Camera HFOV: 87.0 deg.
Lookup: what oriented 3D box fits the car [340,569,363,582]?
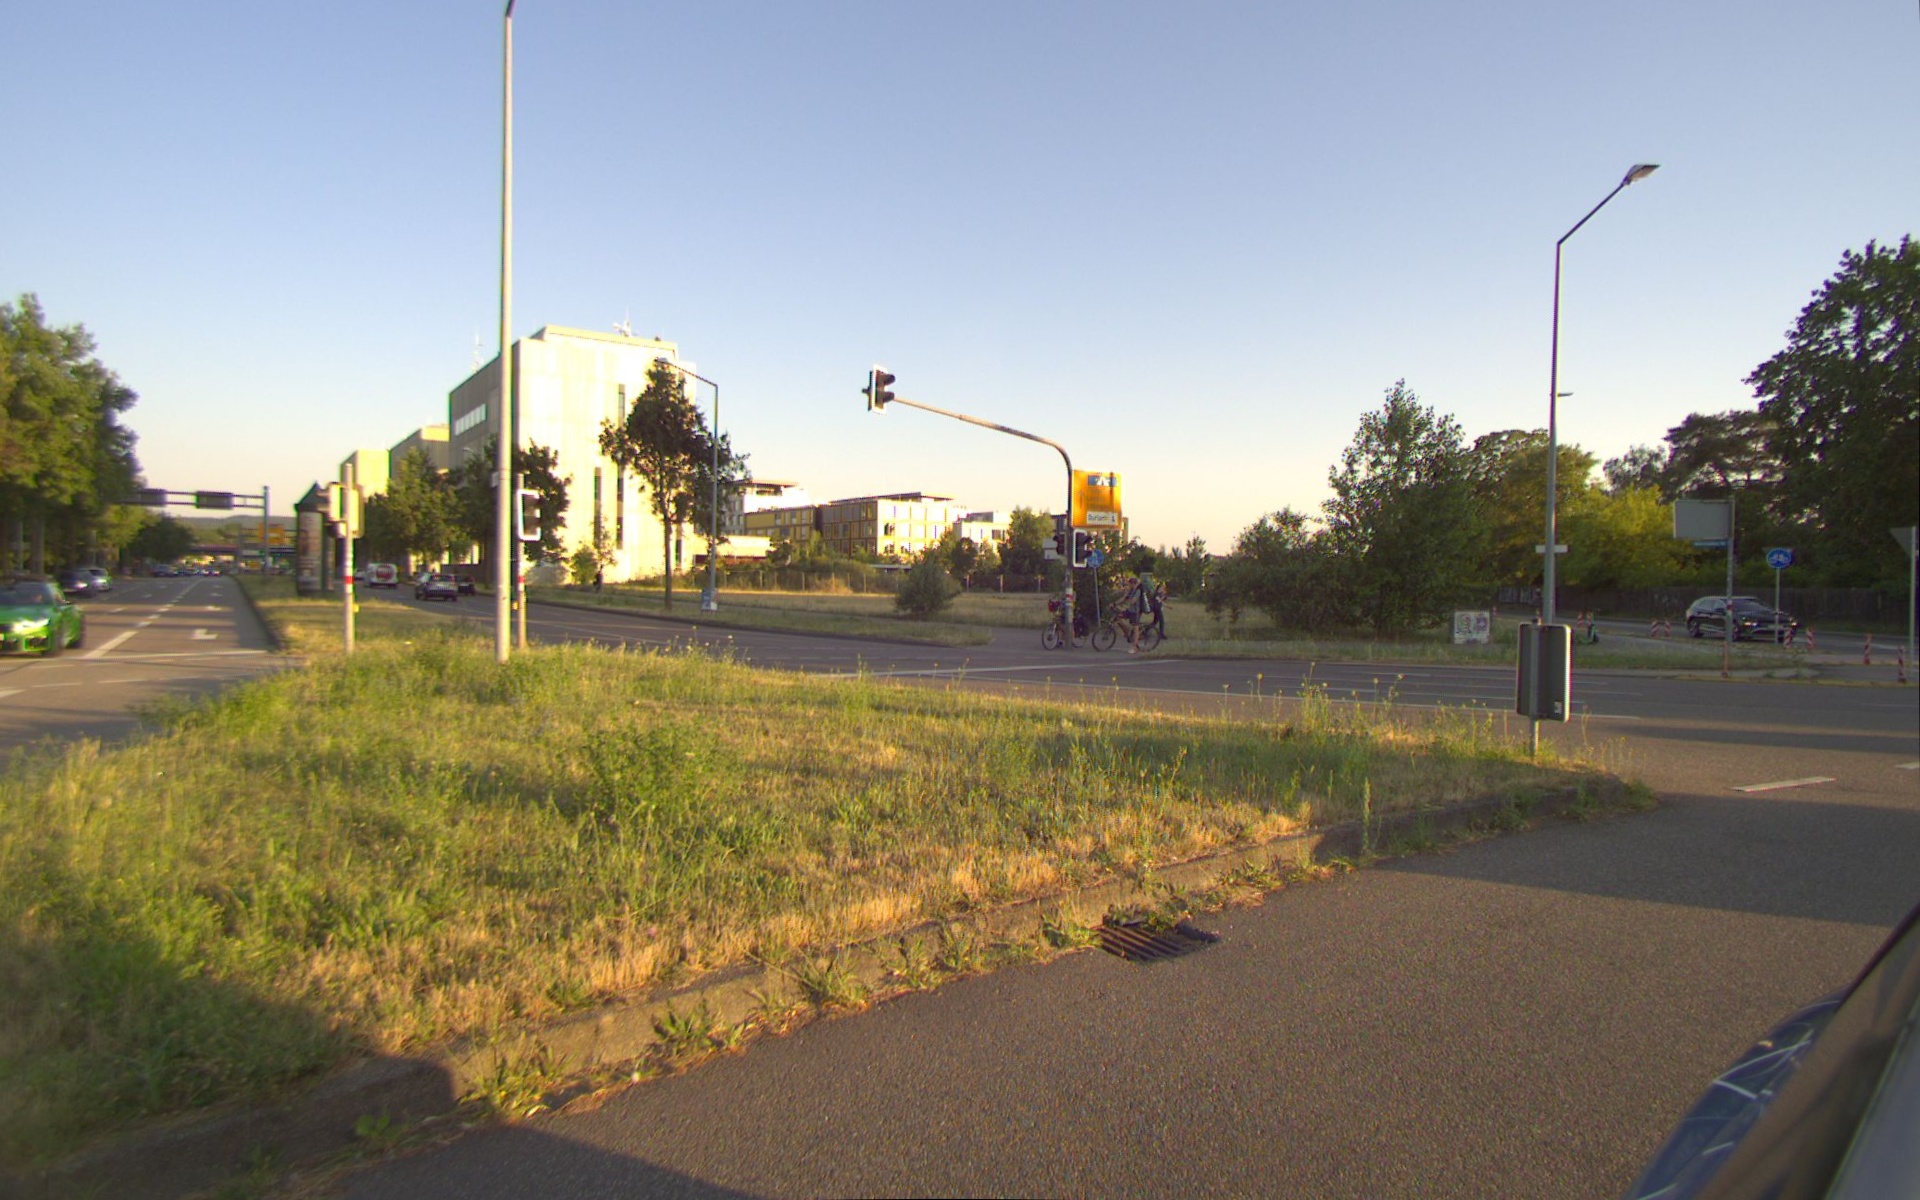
[{"bbox_3d":[-72.247,-2.883,120.162,1.962,1.528,5.186,0,1,-35],"label":"car"}]

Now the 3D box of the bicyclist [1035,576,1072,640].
[{"bbox_3d":[2.526,0.210,27.322,0.675,1.711,0.726,0,1,-29],"label":"bicyclist"}]

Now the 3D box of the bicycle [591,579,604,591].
[{"bbox_3d":[-26.344,-1.086,73.482,0.487,0.837,1.515,0,1,-35],"label":"bicycle"}]

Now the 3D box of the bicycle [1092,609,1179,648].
[{"bbox_3d":[4.539,0.734,26.236,2.100,0.975,0.711,1,1,-15],"label":"bicycle"}]

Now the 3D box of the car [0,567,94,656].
[{"bbox_3d":[-18.523,0.154,19.812,1.962,1.598,4.486,-1,2,-35],"label":"car"}]

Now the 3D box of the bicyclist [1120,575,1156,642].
[{"bbox_3d":[4.612,0.212,26.257,0.674,1.711,0.727,1,1,-13],"label":"bicyclist"}]

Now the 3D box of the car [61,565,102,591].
[{"bbox_3d":[-53.395,-1.348,61.496,1.836,1.472,3.964,0,1,-42],"label":"car"}]

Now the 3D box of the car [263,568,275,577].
[{"bbox_3d":[-139.702,-5.554,204.478,1.962,1.805,4.001,0,1,-35],"label":"car"}]

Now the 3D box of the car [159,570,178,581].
[{"bbox_3d":[-113.971,-3.563,145.678,1.966,1.524,4.613,-1,1,-41],"label":"car"}]

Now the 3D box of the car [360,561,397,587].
[{"bbox_3d":[-46.380,-2.090,80.665,2.029,1.971,4.960,0,1,-36],"label":"car"}]

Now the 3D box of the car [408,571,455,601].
[{"bbox_3d":[-30.252,-0.813,57.883,1.962,1.649,4.001,0,1,-34],"label":"car"}]

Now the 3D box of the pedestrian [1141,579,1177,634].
[{"bbox_3d":[5.955,0.183,30.241,0.977,1.610,0.923,1,1,14],"label":"pedestrian"}]

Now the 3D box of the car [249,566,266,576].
[{"bbox_3d":[-105.564,-4.357,152.104,1.963,1.524,4.111,0,1,-36],"label":"car"}]

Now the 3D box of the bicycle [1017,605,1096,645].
[{"bbox_3d":[2.612,0.662,27.340,2.065,0.975,0.711,-2,2,-27],"label":"bicycle"}]

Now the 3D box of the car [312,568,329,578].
[{"bbox_3d":[-103.840,-4.348,164.329,1.964,1.593,3.996,0,1,-39],"label":"car"}]

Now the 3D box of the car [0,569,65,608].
[{"bbox_3d":[-39.543,-0.517,43.190,1.834,1.407,4.158,4,0,-41],"label":"car"}]

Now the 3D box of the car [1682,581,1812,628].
[{"bbox_3d":[29.266,0.101,37.816,1.967,1.617,4.303,1,1,9],"label":"car"}]

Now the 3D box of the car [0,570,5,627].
[{"bbox_3d":[-26.893,0.008,26.550,1.961,1.593,4.417,0,1,-34],"label":"car"}]

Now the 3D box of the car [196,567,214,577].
[{"bbox_3d":[-110.799,-4.101,148.562,1.963,1.524,4.771,0,1,-36],"label":"car"}]

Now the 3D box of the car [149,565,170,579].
[{"bbox_3d":[-96.582,-3.368,122.138,1.880,1.603,4.179,0,1,-37],"label":"car"}]

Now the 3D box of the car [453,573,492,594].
[{"bbox_3d":[-33.657,-1.148,69.866,1.961,1.445,4.201,0,1,-32],"label":"car"}]

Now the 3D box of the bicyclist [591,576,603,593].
[{"bbox_3d":[-26.362,-1.133,73.476,0.606,1.272,0.735,0,1,-34],"label":"bicyclist"}]

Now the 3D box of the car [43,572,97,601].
[{"bbox_3d":[-47.411,-0.715,53.965,1.833,1.472,4.161,0,1,-37],"label":"car"}]
